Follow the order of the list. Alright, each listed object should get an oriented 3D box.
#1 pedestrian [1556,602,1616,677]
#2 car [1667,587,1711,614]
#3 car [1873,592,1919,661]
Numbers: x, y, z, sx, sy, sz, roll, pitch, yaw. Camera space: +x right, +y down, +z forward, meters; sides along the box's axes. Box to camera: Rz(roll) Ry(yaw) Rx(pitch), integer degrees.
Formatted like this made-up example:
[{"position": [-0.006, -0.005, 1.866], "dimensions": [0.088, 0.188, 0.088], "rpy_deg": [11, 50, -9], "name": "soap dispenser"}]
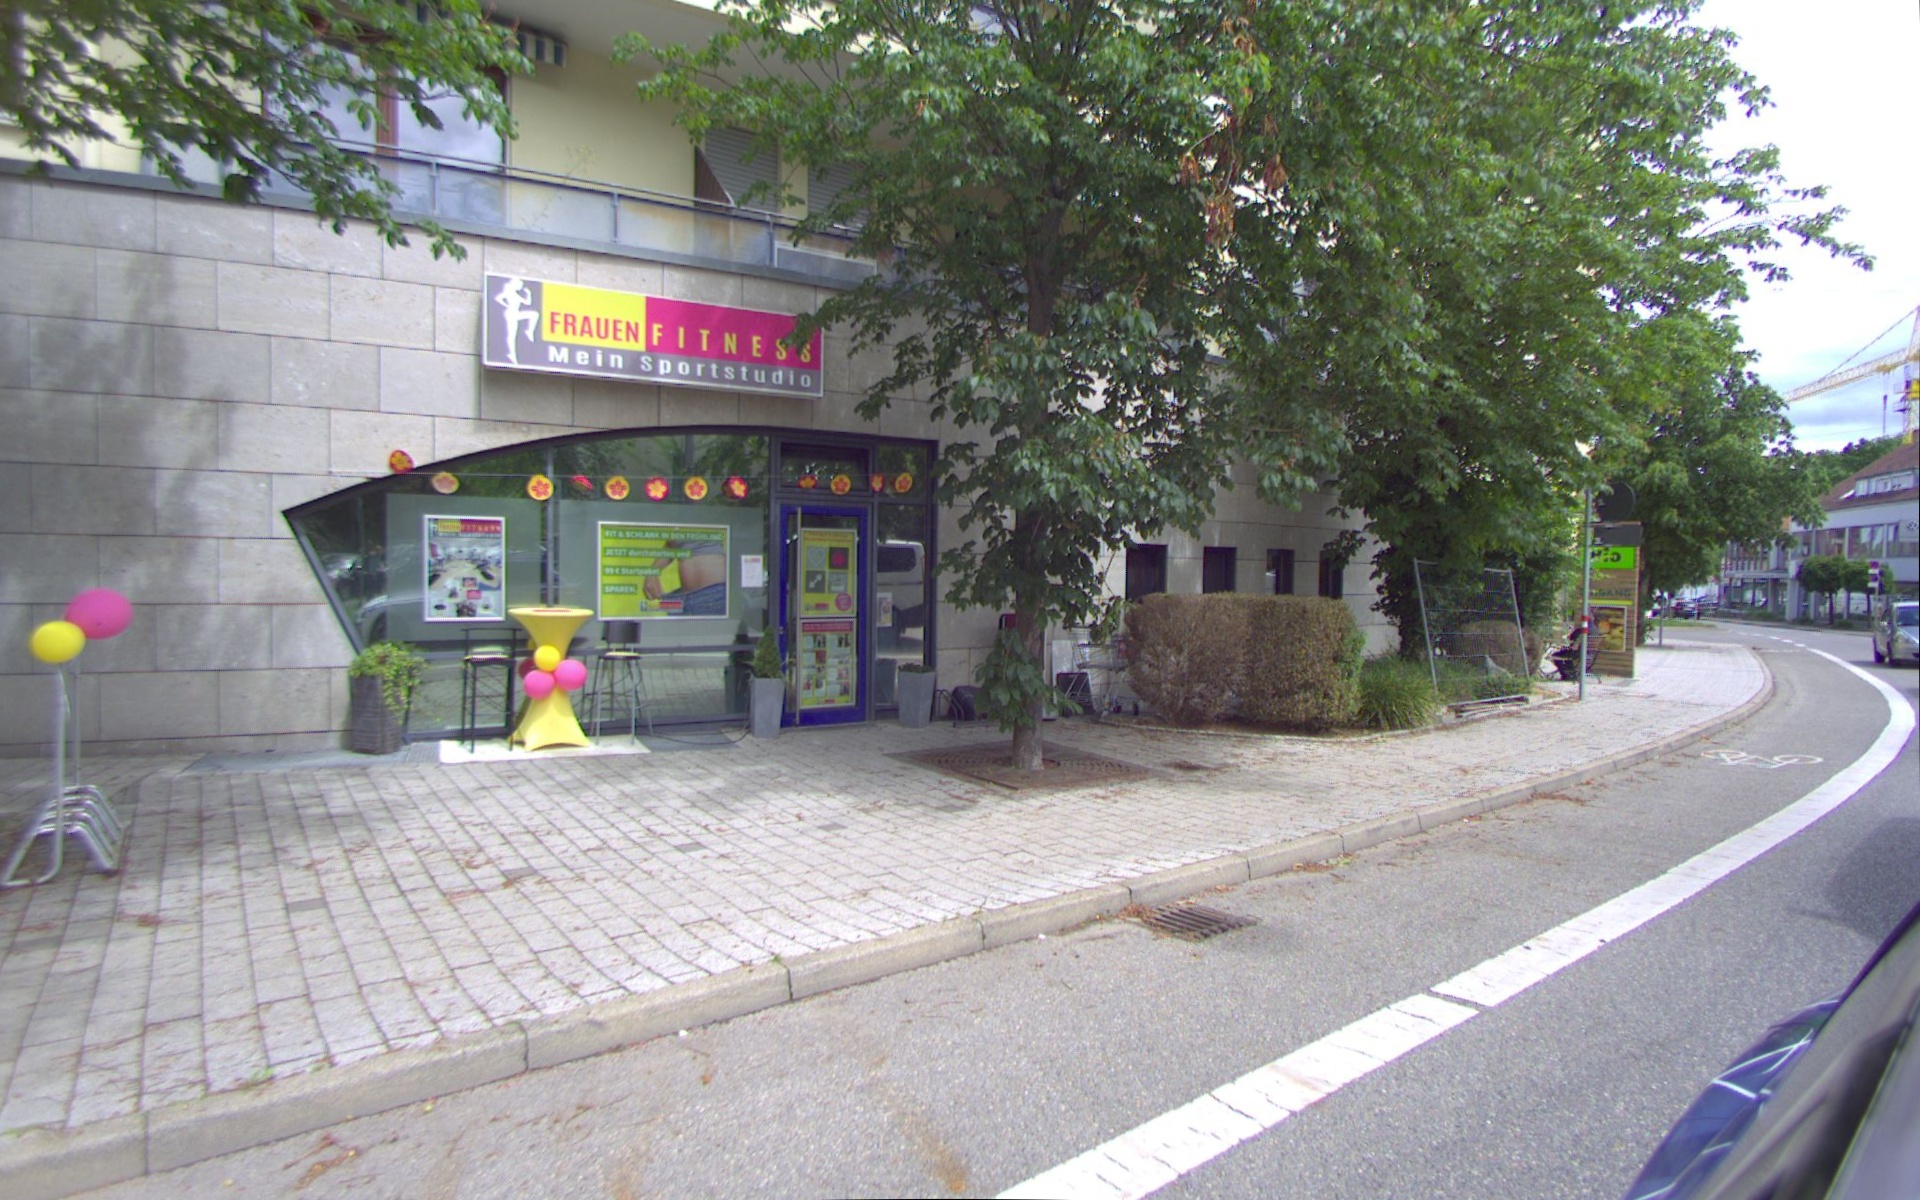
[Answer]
[{"position": [11.539, 0.714, 18.659], "dimensions": [0.741, 1.317, 0.730], "rpy_deg": [0, 2, -41], "name": "pedestrian"}, {"position": [54.193, -0.017, 75.256], "dimensions": [1.722, 1.874, 3.970], "rpy_deg": [2, 2, 23], "name": "car"}, {"position": [23.100, 0.578, 23.896], "dimensions": [1.682, 1.505, 3.952], "rpy_deg": [-1, 0, 34], "name": "car"}]
